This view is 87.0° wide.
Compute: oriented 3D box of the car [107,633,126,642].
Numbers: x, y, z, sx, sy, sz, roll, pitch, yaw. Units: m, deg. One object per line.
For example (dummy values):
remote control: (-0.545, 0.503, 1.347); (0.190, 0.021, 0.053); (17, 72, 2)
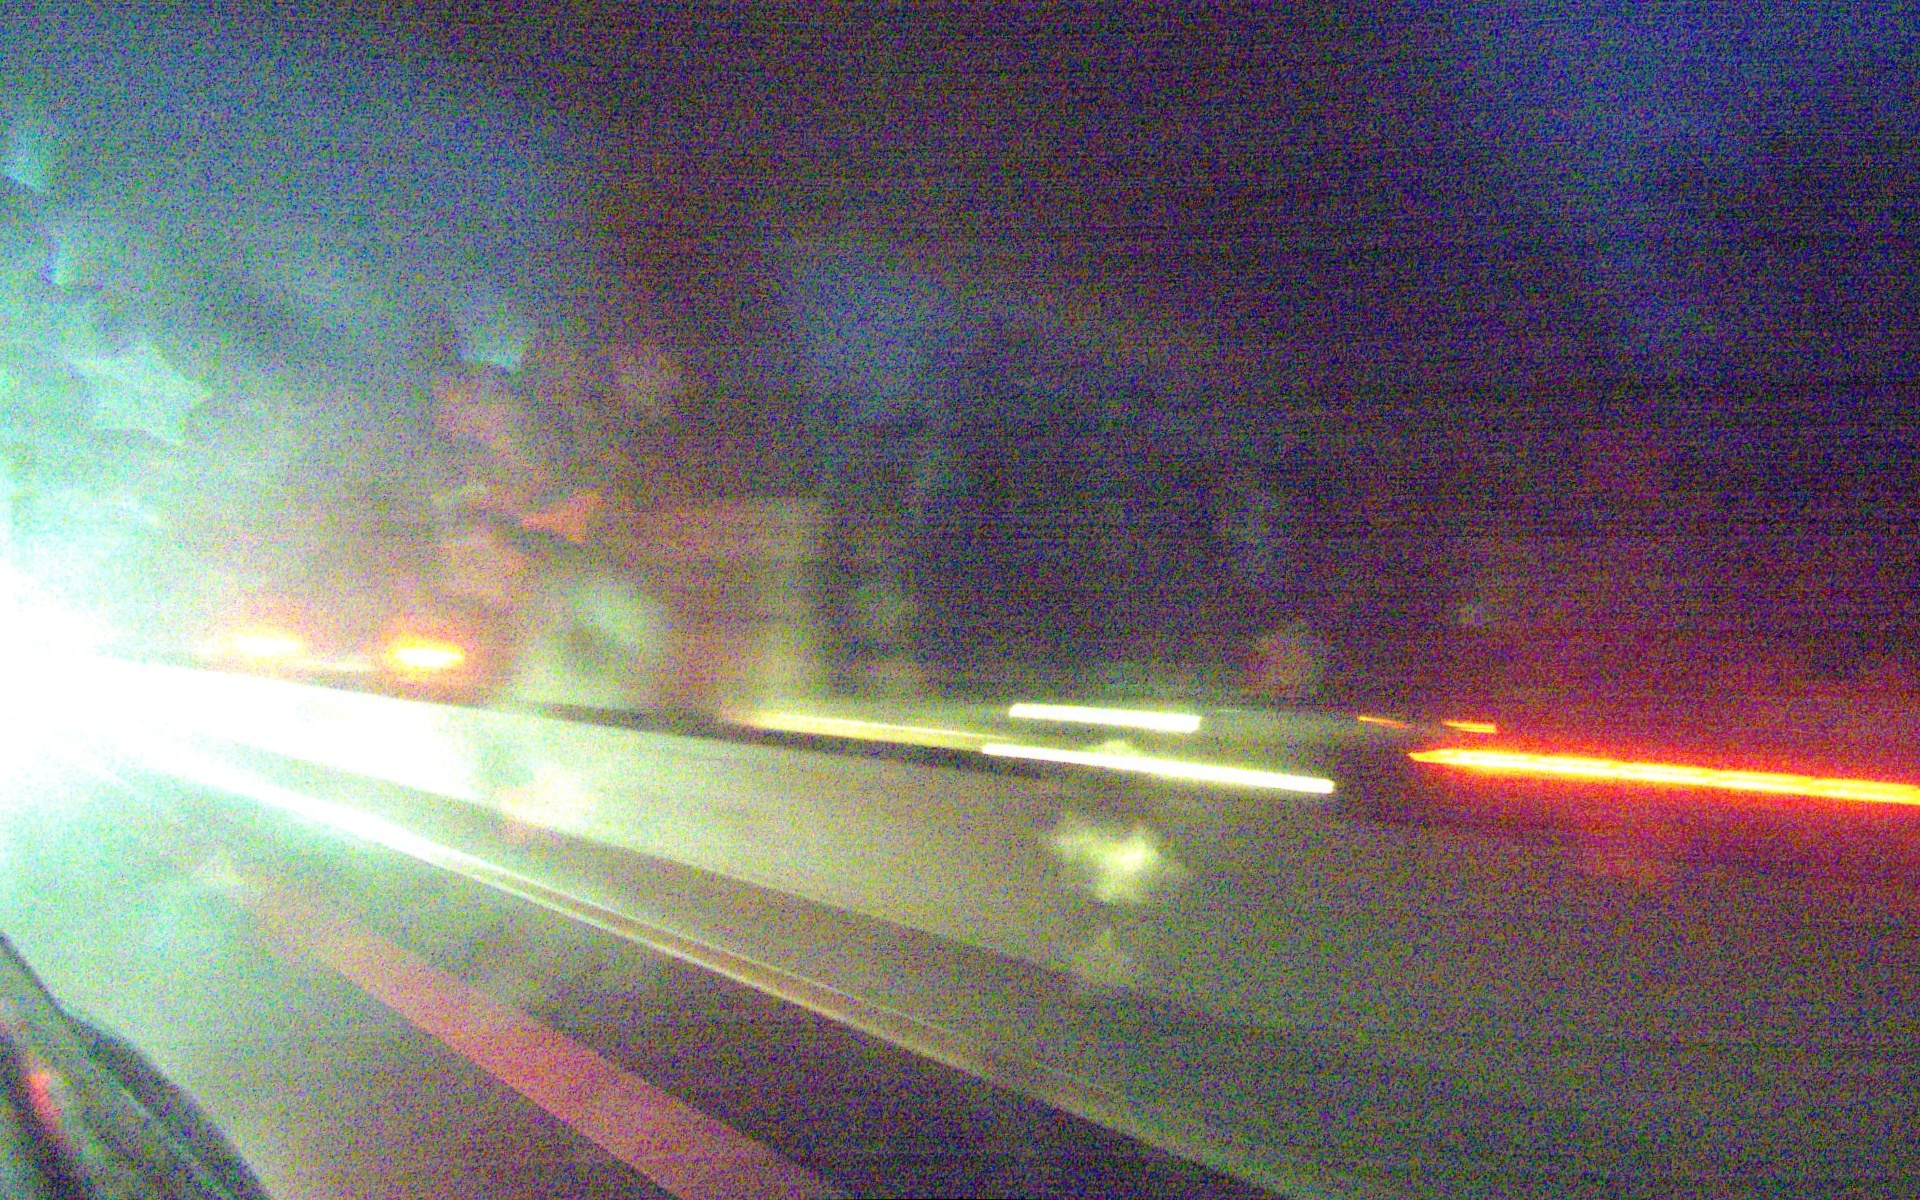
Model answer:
car: (-144.240, 6.453, 173.035); (4.507, 1.491, 1.762); (-2, -4, 42)

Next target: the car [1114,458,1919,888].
car: (3.400, 0.364, 6.869); (4.377, 2.029, 1.766); (-1, 0, 40)

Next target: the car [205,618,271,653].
car: (-53.087, 2.652, 74.344); (7.145, 2.462, 2.356); (-2, -4, 42)

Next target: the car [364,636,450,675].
car: (-22.419, 2.229, 40.947); (4.270, 1.520, 1.673); (-2, -4, 42)

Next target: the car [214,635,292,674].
car: (-28.943, 2.210, 41.397); (3.793, 1.519, 1.716); (-2, -4, 42)

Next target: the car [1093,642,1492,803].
car: (3.984, 1.360, 12.586); (4.377, 1.538, 1.766); (-1, 0, 40)
